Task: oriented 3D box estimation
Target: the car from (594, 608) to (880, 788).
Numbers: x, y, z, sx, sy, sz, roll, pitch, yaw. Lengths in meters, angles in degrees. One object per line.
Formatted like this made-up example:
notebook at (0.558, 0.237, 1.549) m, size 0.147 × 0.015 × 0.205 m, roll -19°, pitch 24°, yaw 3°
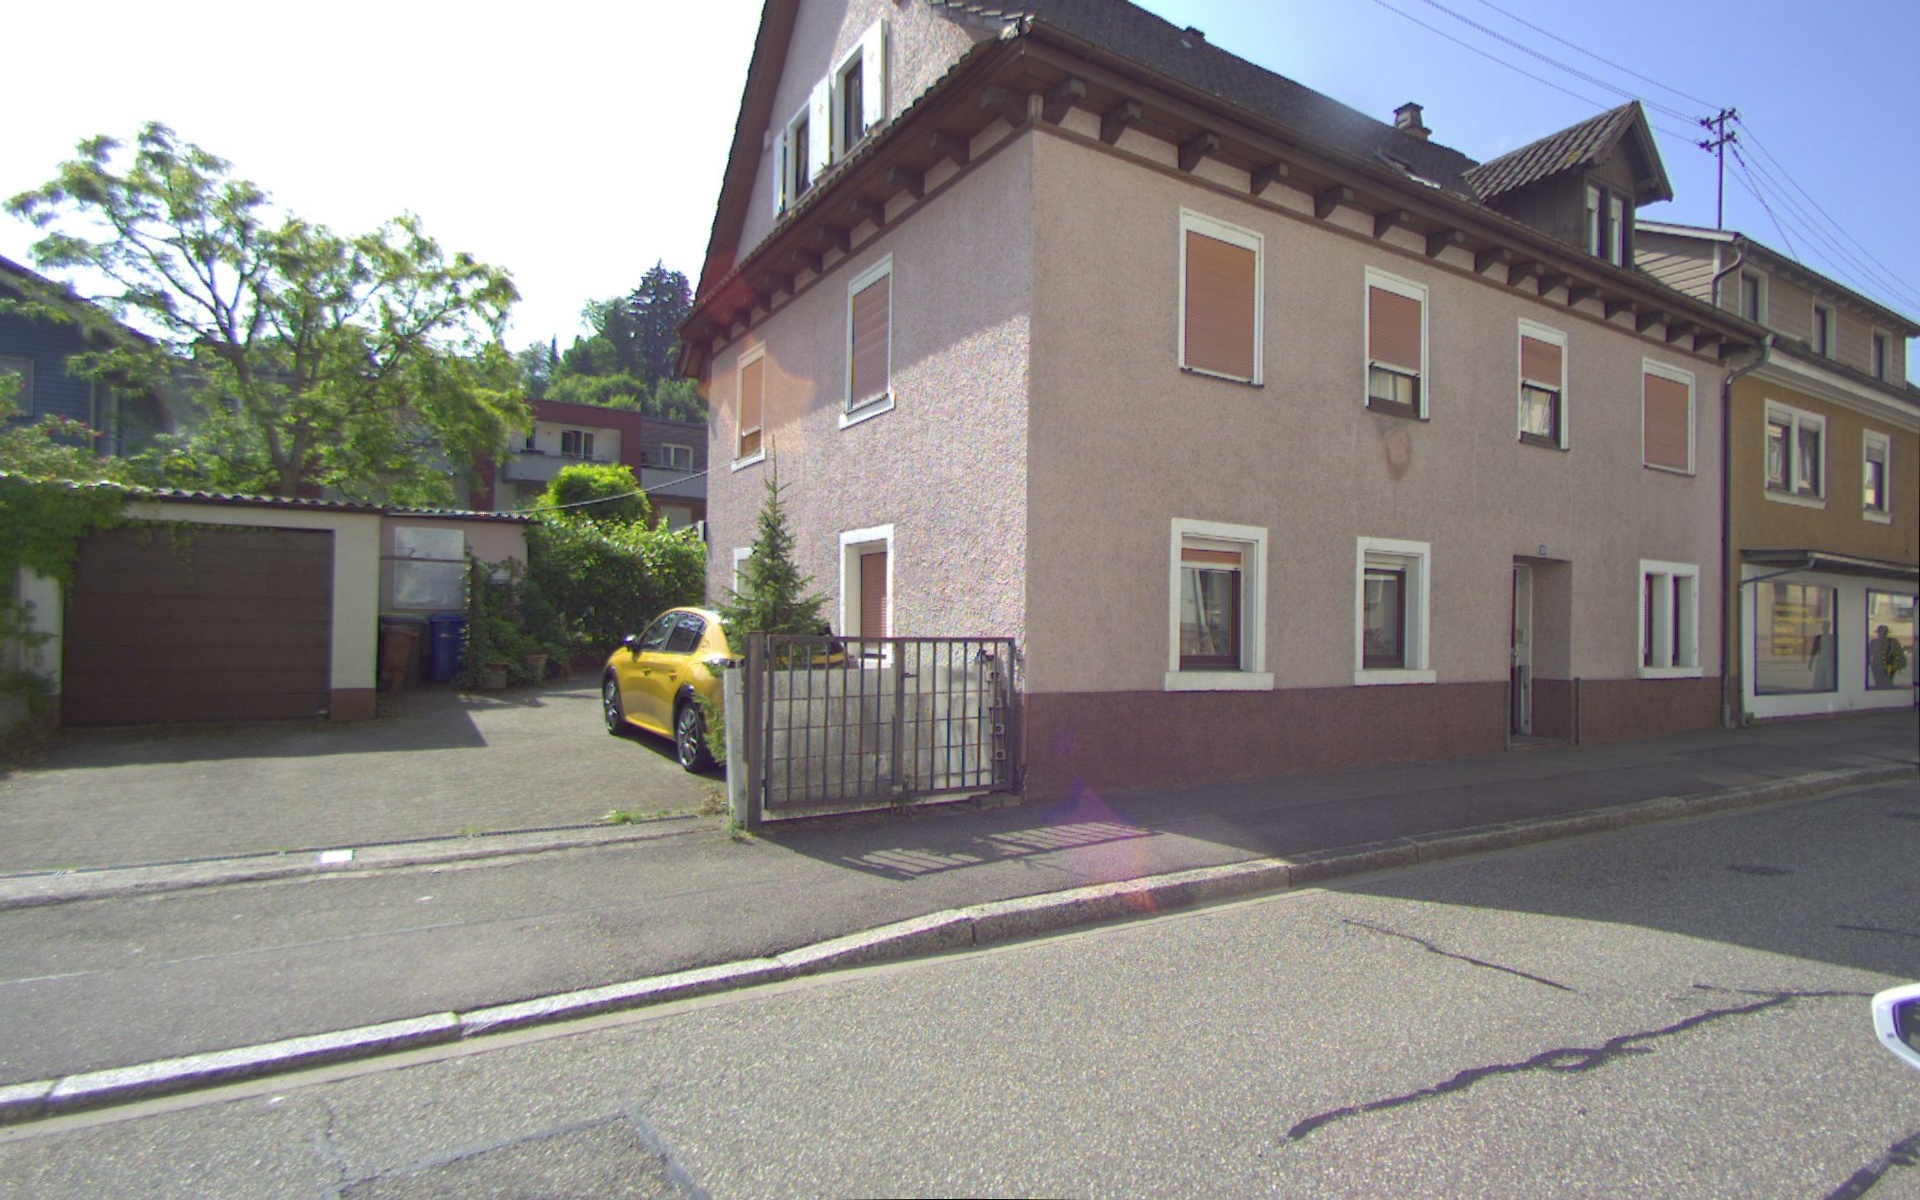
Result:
car at (-2.425, 0.831, 10.219) m, size 1.628 × 1.411 × 3.728 m, roll 1°, pitch 0°, yaw -33°
